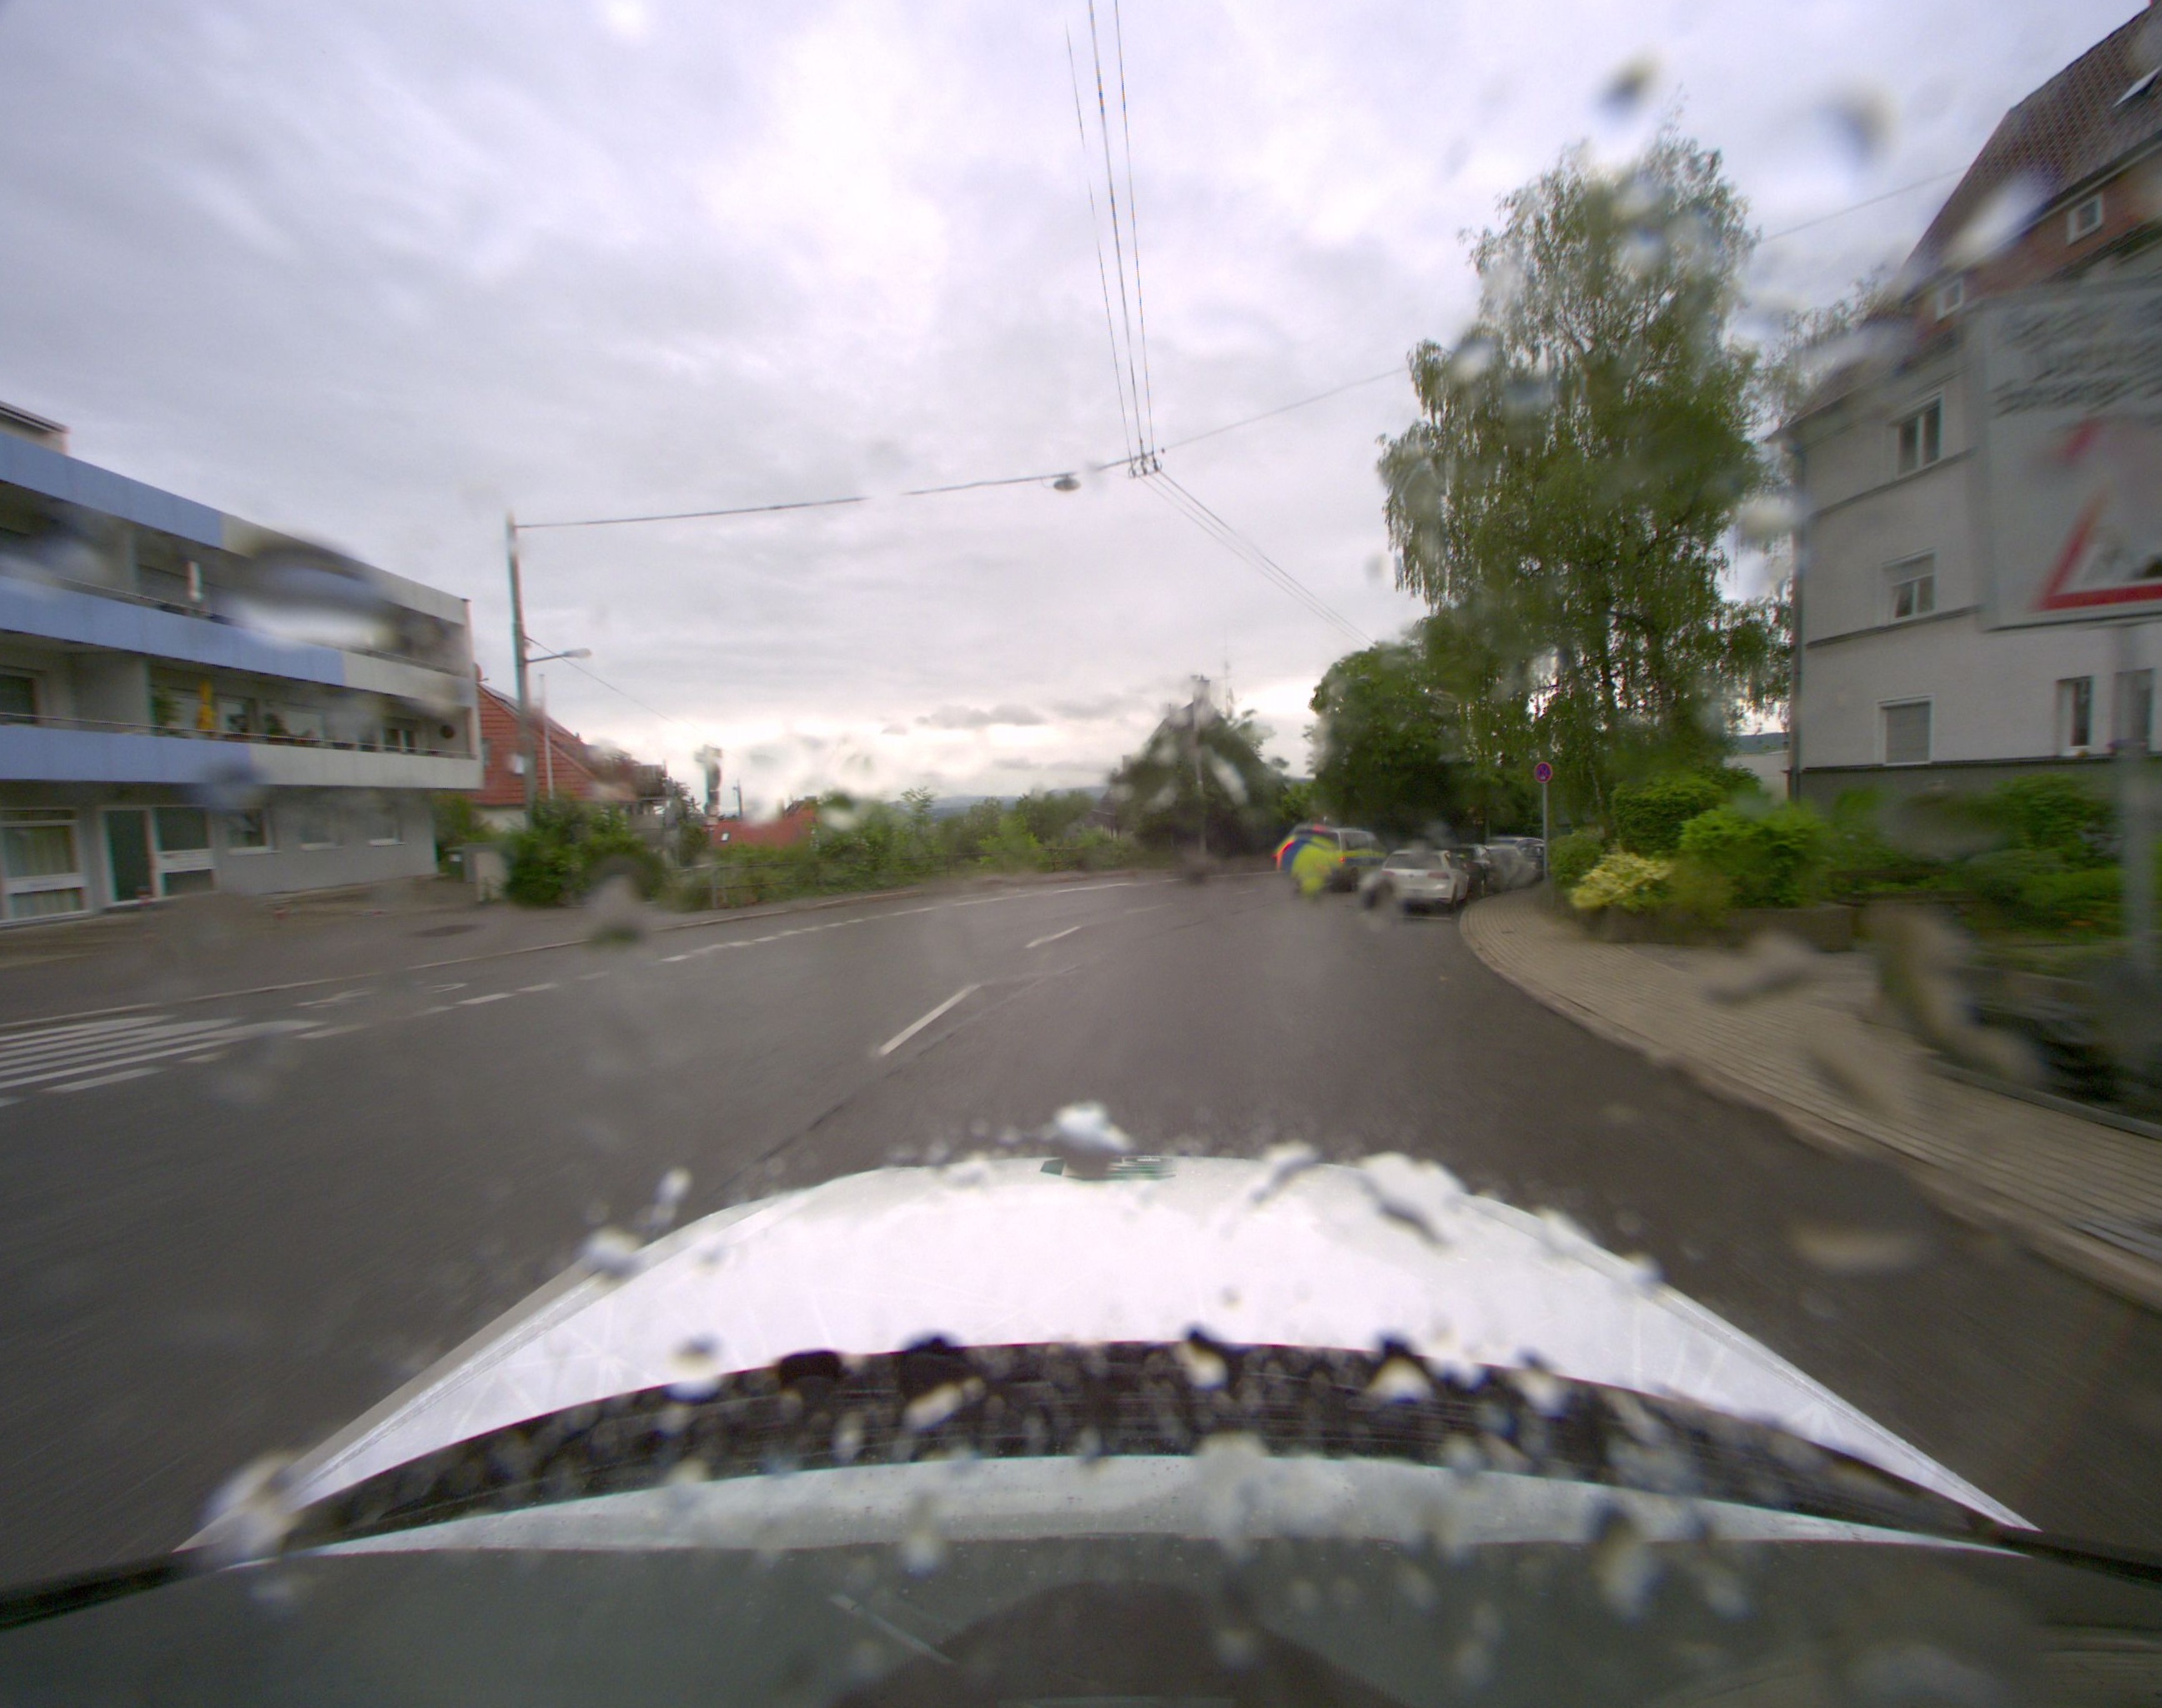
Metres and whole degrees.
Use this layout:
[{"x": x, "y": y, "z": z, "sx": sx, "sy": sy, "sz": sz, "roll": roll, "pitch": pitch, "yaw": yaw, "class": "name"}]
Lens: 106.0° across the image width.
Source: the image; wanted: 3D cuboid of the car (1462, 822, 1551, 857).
[{"x": 22.398, "y": -0.770, "z": 42.834, "sx": 4.290, "sy": 1.607, "sz": 1.818, "roll": -3, "pitch": 1, "yaw": -23, "class": "car"}]

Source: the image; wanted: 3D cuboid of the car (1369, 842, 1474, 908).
[{"x": 8.489, "y": 0.457, "z": 20.102, "sx": 1.772, "sy": 1.446, "sz": 4.131, "roll": -1, "pitch": 0, "yaw": 31, "class": "car"}]

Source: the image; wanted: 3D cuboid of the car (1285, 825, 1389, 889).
[{"x": 8.652, "y": 0.038, "z": 27.285, "sx": 1.974, "sy": 1.893, "sz": 4.599, "roll": 3, "pitch": 3, "yaw": 35, "class": "car"}]

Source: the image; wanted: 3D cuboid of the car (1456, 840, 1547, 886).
[{"x": 14.606, "y": 0.274, "z": 28.168, "sx": 1.710, "sy": 1.464, "sz": 4.055, "roll": -1, "pitch": 0, "yaw": 44, "class": "car"}]

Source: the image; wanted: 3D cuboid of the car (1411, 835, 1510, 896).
[{"x": 11.175, "y": 0.280, "z": 23.822, "sx": 1.609, "sy": 1.519, "sz": 4.355, "roll": -1, "pitch": 1, "yaw": 39, "class": "car"}]

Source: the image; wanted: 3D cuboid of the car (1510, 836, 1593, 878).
[{"x": 18.312, "y": 0.089, "z": 31.642, "sx": 3.623, "sy": 1.505, "sz": 1.606, "roll": -1, "pitch": 0, "yaw": -40, "class": "car"}]
